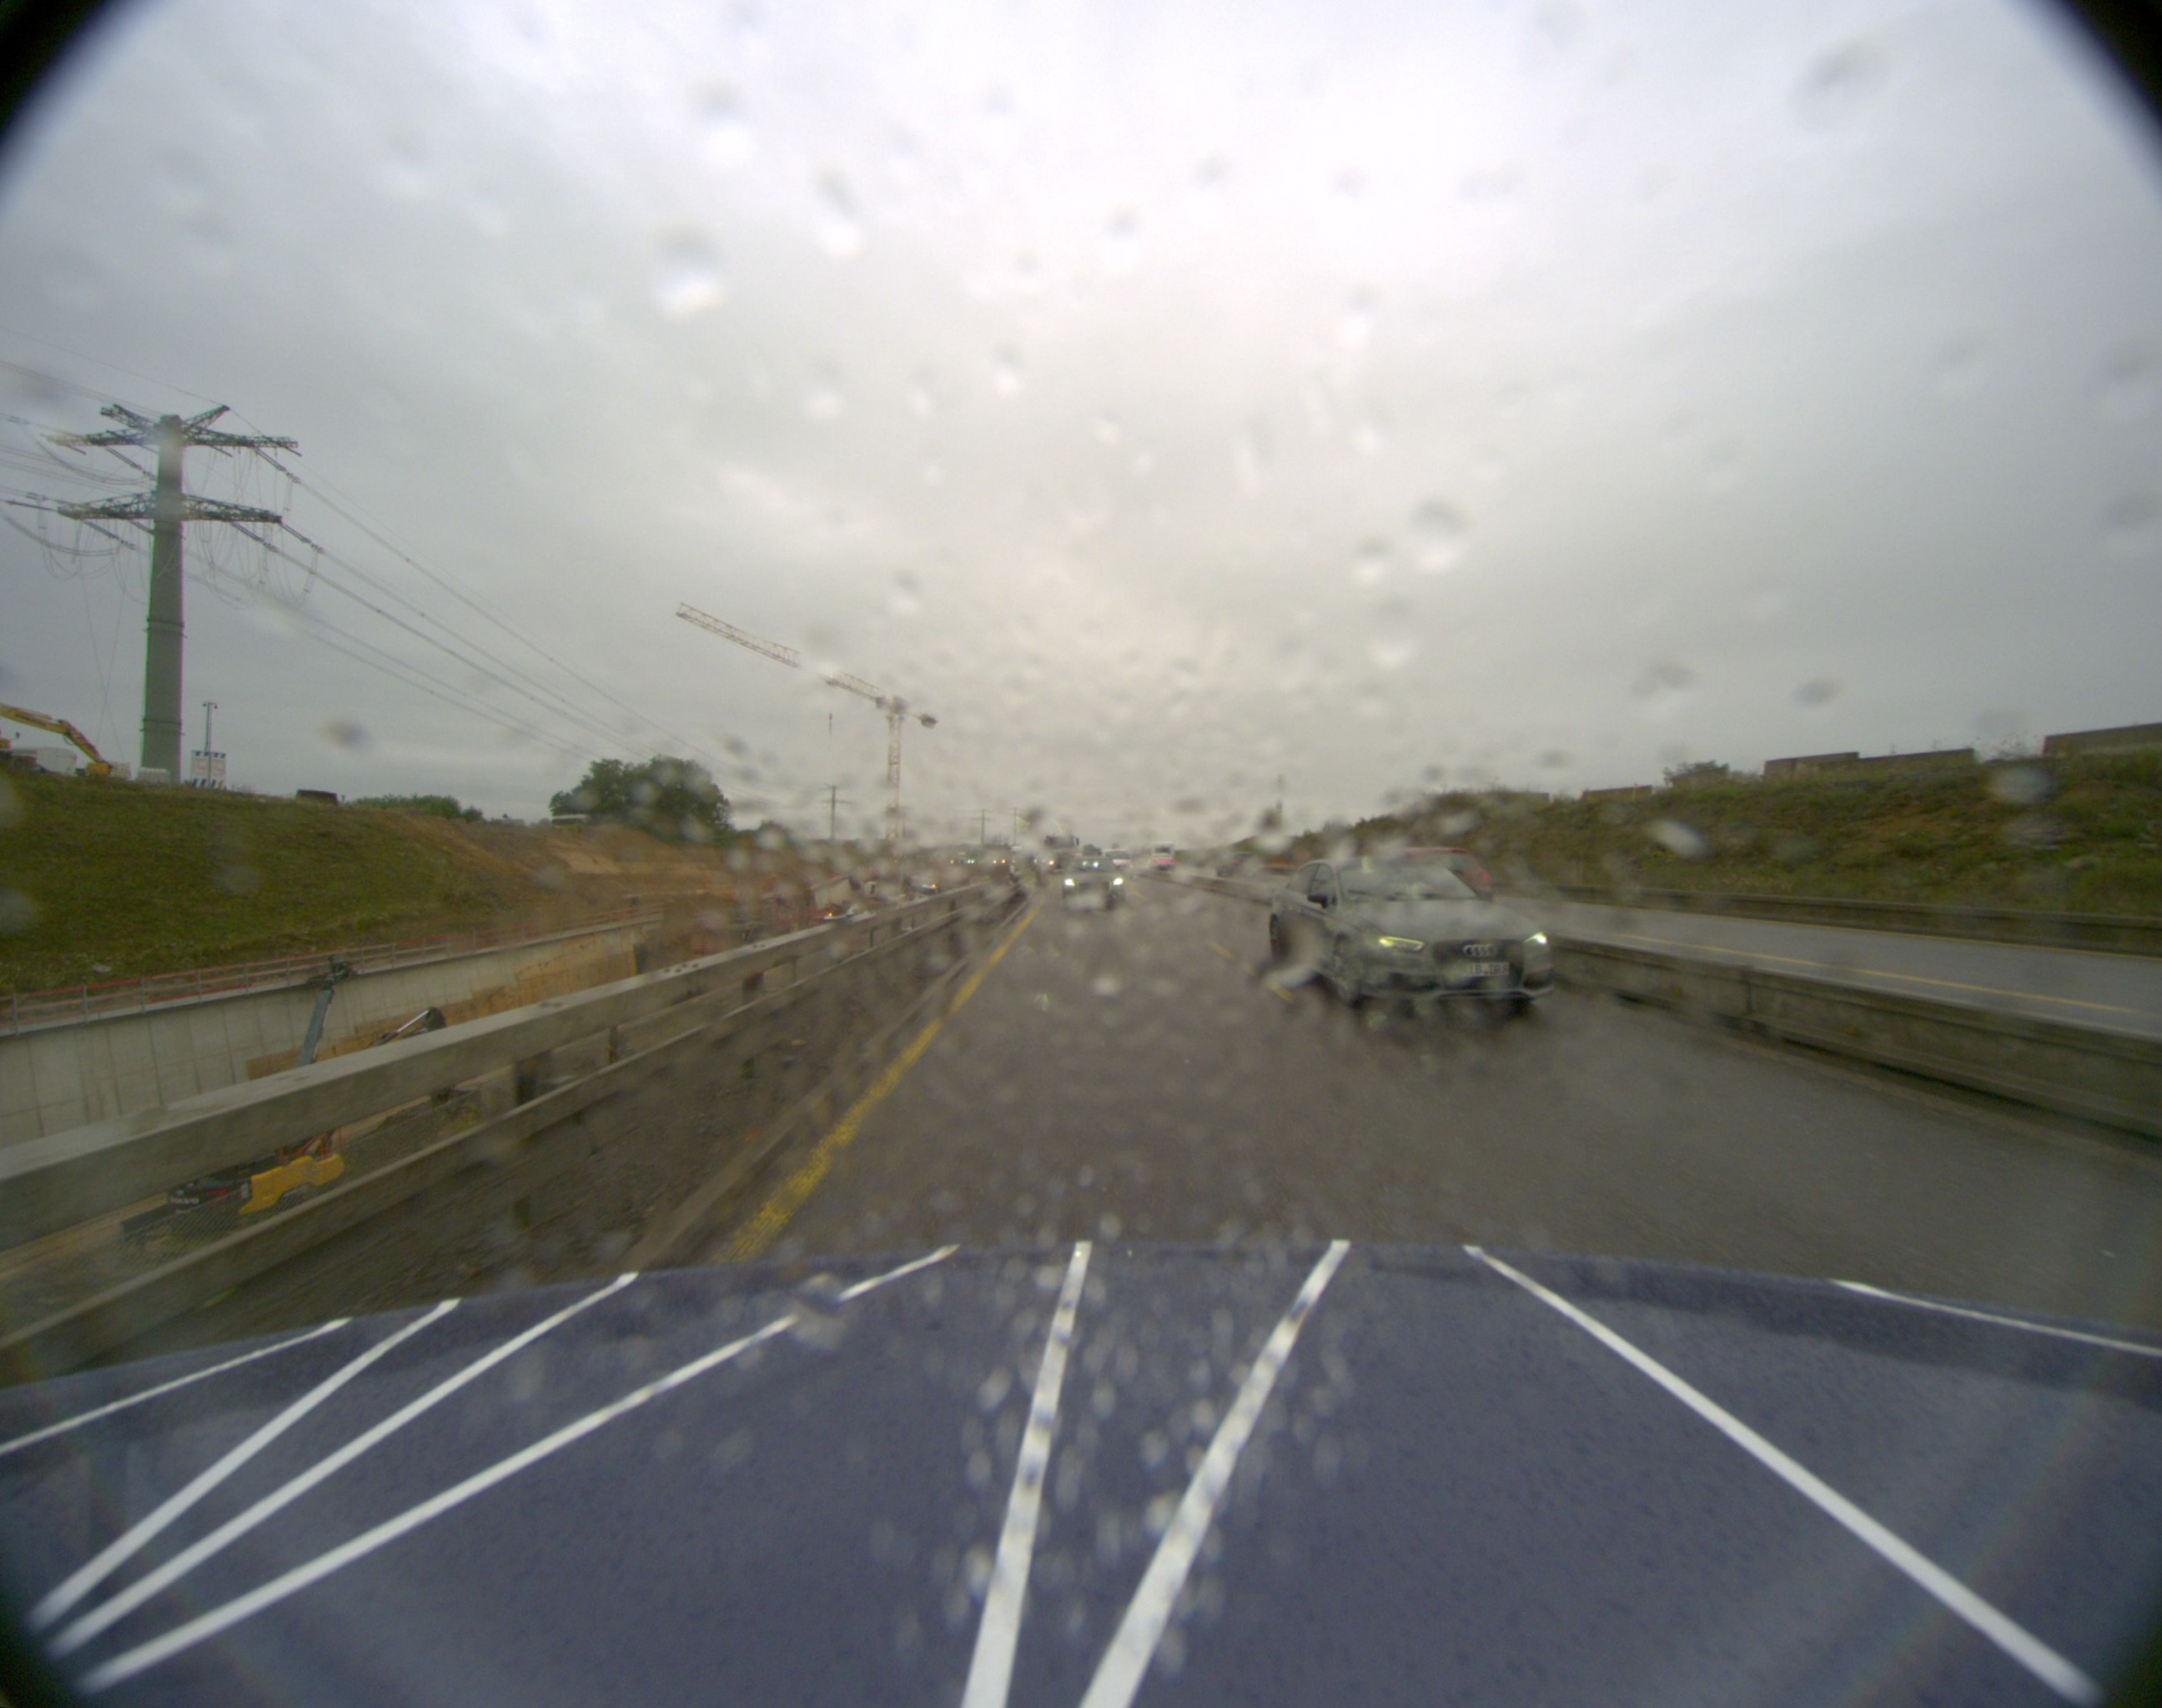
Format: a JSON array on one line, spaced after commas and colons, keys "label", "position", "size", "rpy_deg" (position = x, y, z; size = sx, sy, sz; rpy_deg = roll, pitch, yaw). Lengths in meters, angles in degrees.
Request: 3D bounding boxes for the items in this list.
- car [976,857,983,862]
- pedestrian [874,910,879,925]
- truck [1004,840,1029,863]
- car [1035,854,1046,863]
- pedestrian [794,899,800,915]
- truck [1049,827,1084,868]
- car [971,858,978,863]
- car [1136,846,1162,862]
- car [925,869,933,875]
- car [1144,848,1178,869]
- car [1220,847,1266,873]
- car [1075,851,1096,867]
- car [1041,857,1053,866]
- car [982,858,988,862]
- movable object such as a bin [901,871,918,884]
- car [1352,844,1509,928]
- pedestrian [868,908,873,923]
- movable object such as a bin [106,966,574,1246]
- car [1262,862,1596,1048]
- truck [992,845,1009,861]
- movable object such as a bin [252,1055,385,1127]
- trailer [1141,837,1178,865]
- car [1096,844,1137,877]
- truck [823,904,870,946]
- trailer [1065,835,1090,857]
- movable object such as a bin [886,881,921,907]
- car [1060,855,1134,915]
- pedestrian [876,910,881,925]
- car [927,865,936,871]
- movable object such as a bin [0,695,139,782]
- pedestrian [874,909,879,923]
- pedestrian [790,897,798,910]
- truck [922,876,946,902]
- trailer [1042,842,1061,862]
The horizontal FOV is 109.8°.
[{"label": "car", "position": [-29.356, 1.543, 219.508], "size": [1.791, 1.418, 3.995], "rpy_deg": [-3, 1, -12]}, {"label": "pedestrian", "position": [-26.770, 8.357, 99.358], "size": [0.603, 1.894, 0.614], "rpy_deg": [0, 1, -7]}, {"label": "truck", "position": [-13.306, -0.547, 155.202], "size": [4.320, 4.319, 13.398], "rpy_deg": [-3, 1, -7]}, {"label": "car", "position": [-7.851, 0.887, 147.242], "size": [1.791, 1.646, 3.996], "rpy_deg": [-3, 1, -9]}, {"label": "pedestrian", "position": [-39.098, 7.277, 104.660], "size": [0.489, 2.088, 0.481], "rpy_deg": [-7, 2, -6]}, {"label": "truck", "position": [-1.446, -0.592, 69.786], "size": [2.857, 3.462, 8.640], "rpy_deg": [-2, 1, -3]}, {"label": "car", "position": [-33.903, 2.103, 241.401], "size": [1.791, 1.418, 3.996], "rpy_deg": [-3, 1, -12]}, {"label": "car", "position": [7.339, -0.005, 82.371], "size": [1.999, 1.577, 5.117], "rpy_deg": [-3, 0, -3]}, {"label": "car", "position": [-39.843, 4.710, 199.560], "size": [1.861, 1.609, 4.077], "rpy_deg": [-1, 1, -8]}, {"label": "car", "position": [5.970, 0.353, 57.362], "size": [1.882, 1.491, 4.335], "rpy_deg": [-3, -1, -2]}, {"label": "car", "position": [9.777, 0.337, 46.233], "size": [1.773, 1.435, 4.671], "rpy_deg": [-2, 0, 1]}, {"label": "car", "position": [0.516, 0.556, 86.885], "size": [1.790, 1.744, 3.997], "rpy_deg": [-3, 1, -7]}, {"label": "car", "position": [-5.952, 1.319, 134.004], "size": [1.790, 1.418, 3.997], "rpy_deg": [-3, 1, -7]}, {"label": "car", "position": [-32.819, 2.067, 260.263], "size": [1.790, 1.418, 3.997], "rpy_deg": [-3, 1, -7]}, {"label": "movable object such as a bin", "position": [-40.800, 5.550, 180.985], "size": [3.503, 2.865, 3.997], "rpy_deg": [4, 0, -7]}, {"label": "car", "position": [7.410, 0.600, 16.525], "size": [1.731, 1.568, 3.721], "rpy_deg": [-2, 1, 1]}, {"label": "pedestrian", "position": [-27.826, 8.108, 100.342], "size": [0.603, 1.894, 0.481], "rpy_deg": [1, 1, -7]}, {"label": "movable object such as a bin", "position": [-25.712, 8.325, 28.320], "size": [4.906, 5.640, 12.083], "rpy_deg": [-4, 3, 1]}, {"label": "car", "position": [3.331, 0.848, 8.245], "size": [1.804, 1.375, 4.087], "rpy_deg": [-2, 1, 1]}, {"label": "truck", "position": [-20.454, -0.233, 192.237], "size": [3.548, 3.871, 8.327], "rpy_deg": [-3, 1, -10]}, {"label": "movable object such as a bin", "position": [-33.673, 10.421, 33.697], "size": [2.523, 1.900, 3.255], "rpy_deg": [-4, 1, -5]}, {"label": "trailer", "position": [7.851, -0.301, 76.552], "size": [2.517, 2.549, 7.160], "rpy_deg": [-3, 0, -3]}, {"label": "car", "position": [2.219, 0.356, 48.711], "size": [2.070, 1.934, 5.154], "rpy_deg": [-2, 1, -4]}, {"label": "truck", "position": [-25.715, 7.669, 83.737], "size": [2.710, 3.591, 9.069], "rpy_deg": [0, 2, -3]}, {"label": "trailer", "position": [-0.777, -1.543, 142.280], "size": [3.265, 3.941, 11.527], "rpy_deg": [-2, 1, -7]}, {"label": "movable object such as a bin", "position": [-27.428, 6.193, 117.920], "size": [3.516, 3.405, 6.651], "rpy_deg": [-2, 2, 2]}, {"label": "car", "position": [0.356, 0.813, 22.069], "size": [1.874, 1.481, 4.259], "rpy_deg": [-2, 0, -2]}, {"label": "pedestrian", "position": [-26.667, 8.334, 100.073], "size": [0.603, 1.894, 0.481], "rpy_deg": [0, 1, -7]}, {"label": "car", "position": [-44.774, 4.178, 227.925], "size": [2.352, 1.609, 4.855], "rpy_deg": [-1, 1, -8]}, {"label": "movable object such as a bin", "position": [-60.405, -6.589, 43.273], "size": [3.106, 4.182, 8.178], "rpy_deg": [-1, 0, 1]}, {"label": "pedestrian", "position": [-26.581, 8.010, 98.774], "size": [0.603, 1.759, 0.481], "rpy_deg": [2, 1, -7]}, {"label": "pedestrian", "position": [-38.975, 6.727, 103.150], "size": [0.488, 1.794, 0.583], "rpy_deg": [-5, 2, 34]}, {"label": "truck", "position": [-23.940, 5.627, 124.030], "size": [3.363, 3.521, 8.897], "rpy_deg": [-1, 3, -9]}, {"label": "trailer", "position": [-7.103, -0.459, 180.555], "size": [3.005, 4.395, 15.691], "rpy_deg": [0, 0, -7]}]
